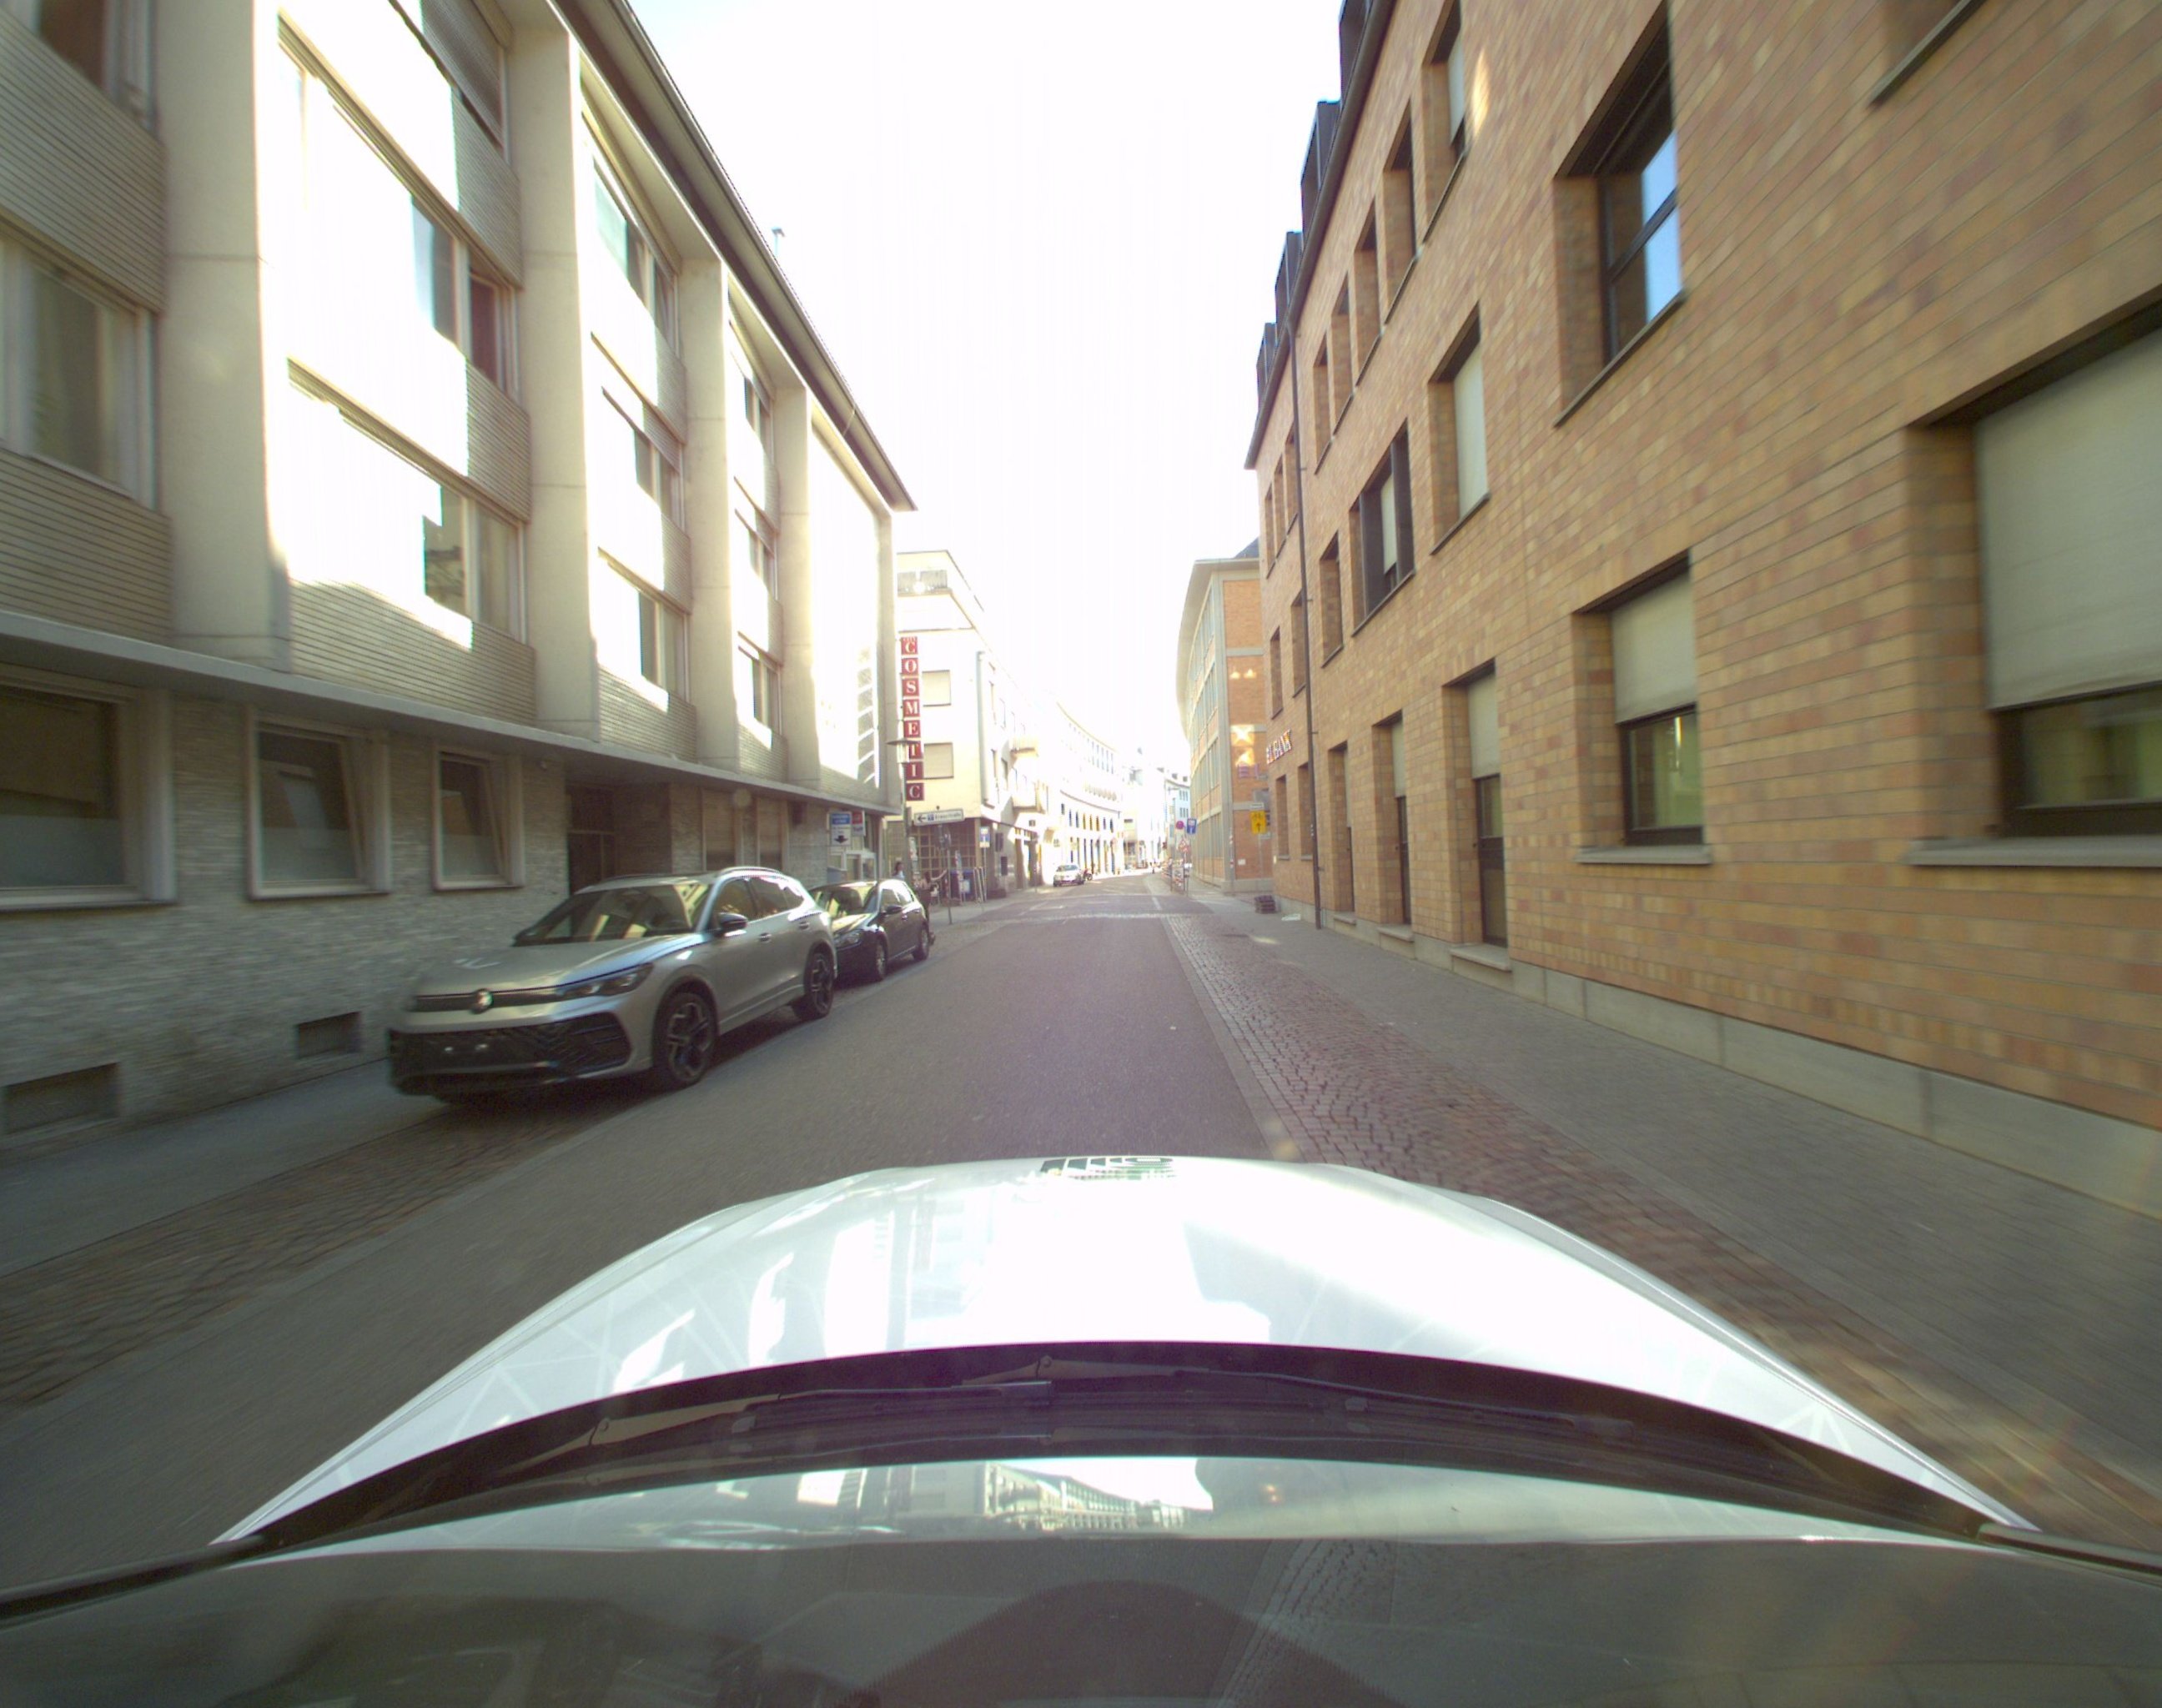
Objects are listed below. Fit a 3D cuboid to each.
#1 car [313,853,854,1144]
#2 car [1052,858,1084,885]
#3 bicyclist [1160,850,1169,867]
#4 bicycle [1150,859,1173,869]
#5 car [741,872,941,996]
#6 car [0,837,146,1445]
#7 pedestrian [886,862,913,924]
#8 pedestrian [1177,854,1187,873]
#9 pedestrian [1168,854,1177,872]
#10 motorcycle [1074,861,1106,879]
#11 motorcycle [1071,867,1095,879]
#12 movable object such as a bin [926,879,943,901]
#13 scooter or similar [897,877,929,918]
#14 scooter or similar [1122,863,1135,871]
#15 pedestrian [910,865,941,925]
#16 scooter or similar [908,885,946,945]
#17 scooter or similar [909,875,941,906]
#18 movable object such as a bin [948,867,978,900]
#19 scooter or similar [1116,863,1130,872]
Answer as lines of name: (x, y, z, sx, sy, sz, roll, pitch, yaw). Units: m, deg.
car: (-3.743, 0.910, 7.298, 1.882, 1.742, 4.394, -3, 0, 3)
car: (-0.784, 1.123, 52.938, 1.729, 1.606, 3.536, -1, 0, 4)
bicyclist: (11.526, 0.599, 112.669, 1.082, 2.389, 0.744, -1, -1, 16)
bicycle: (11.160, 1.449, 112.751, 3.065, 1.354, 0.704, -1, -1, 16)
car: (-3.536, 1.107, 12.825, 1.641, 1.460, 4.003, -5, -1, 3)
car: (-4.058, 0.838, 0.339, 1.882, 1.675, 4.557, -3, 0, 3)
pedestrian: (-5.229, 1.113, 23.450, 0.443, 1.738, 0.556, -2, -1, 26)
pedestrian: (9.942, 0.920, 80.505, 0.663, 1.869, 0.754, 0, -2, -27)
pedestrian: (9.666, 0.969, 85.858, 0.663, 1.869, 0.779, 0, -1, -27)
motorcycle: (0.743, 1.244, 64.093, 2.381, 1.317, 0.863, -3, -1, 3)
motorcycle: (0.131, 1.423, 60.449, 1.681, 0.859, 0.596, -1, -1, 8)
movable object such as a bin: (-6.353, 1.556, 35.310, 0.540, 0.902, 0.519, 1, -2, -44)
scooter or similar: (-5.004, 1.285, 24.221, 0.793, 1.161, 0.630, 0, -1, -27)
scooter or similar: (5.809, 1.559, 98.929, 0.520, 0.928, 2.242, -2, 0, 33)
pedestrian: (-4.328, 1.136, 22.688, 0.650, 1.625, 0.452, -2, -1, -38)
scooter or similar: (-3.337, 1.306, 17.560, 0.414, 1.198, 1.111, -6, 0, -25)
scooter or similar: (-6.441, 1.515, 33.655, 1.152, 1.207, 0.480, -3, -1, 3)
movable object such as a bin: (-5.216, 1.302, 35.990, 0.939, 1.420, 0.874, 1, -2, -44)
scooter or similar: (4.925, 1.586, 95.435, 0.520, 0.928, 2.242, -2, 0, 33)
